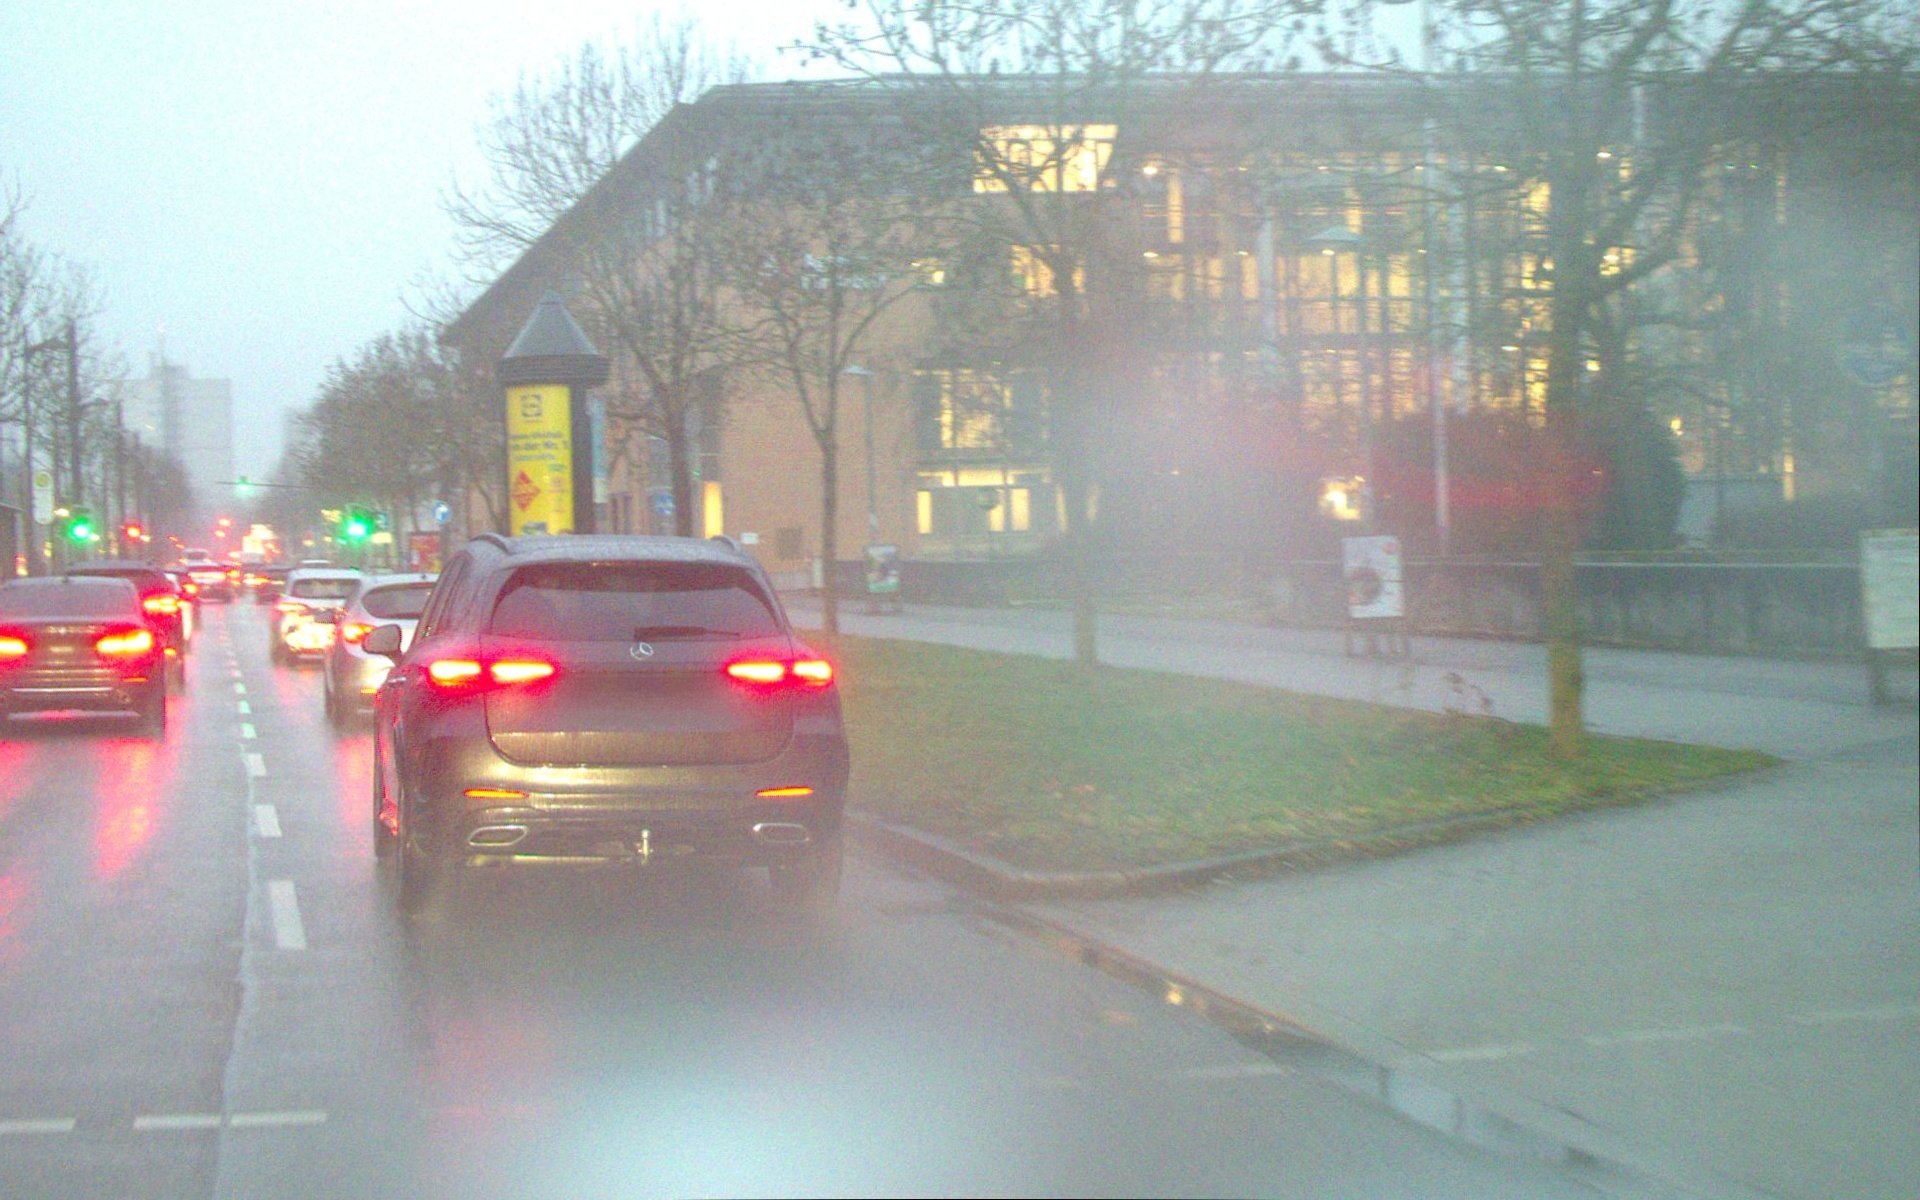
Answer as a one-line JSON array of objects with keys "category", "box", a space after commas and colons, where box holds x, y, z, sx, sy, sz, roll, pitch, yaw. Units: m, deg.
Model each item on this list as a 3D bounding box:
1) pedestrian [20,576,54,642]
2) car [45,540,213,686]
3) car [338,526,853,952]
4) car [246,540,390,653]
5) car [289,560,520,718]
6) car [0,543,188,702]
[{"category": "pedestrian", "box": [-22.083, 0.214, 82.245, 0.698, 1.547, 0.669, -3, 1, -12]}, {"category": "car", "box": [-10.890, 0.127, 45.258, 1.993, 1.759, 4.001, -2, 1, -12]}, {"category": "car", "box": [-1.791, 0.513, 15.701, 1.990, 1.610, 4.001, -2, 1, -10]}, {"category": "car", "box": [-10.005, -0.082, 53.359, 1.993, 1.612, 4.001, -2, 1, -13]}, {"category": "car", "box": [-5.632, 0.340, 34.489, 1.993, 1.403, 4.001, -2, 1, -13]}, {"category": "car", "box": [-8.658, 0.179, 33.610, 1.993, 1.393, 4.001, -2, 1, -14]}]
